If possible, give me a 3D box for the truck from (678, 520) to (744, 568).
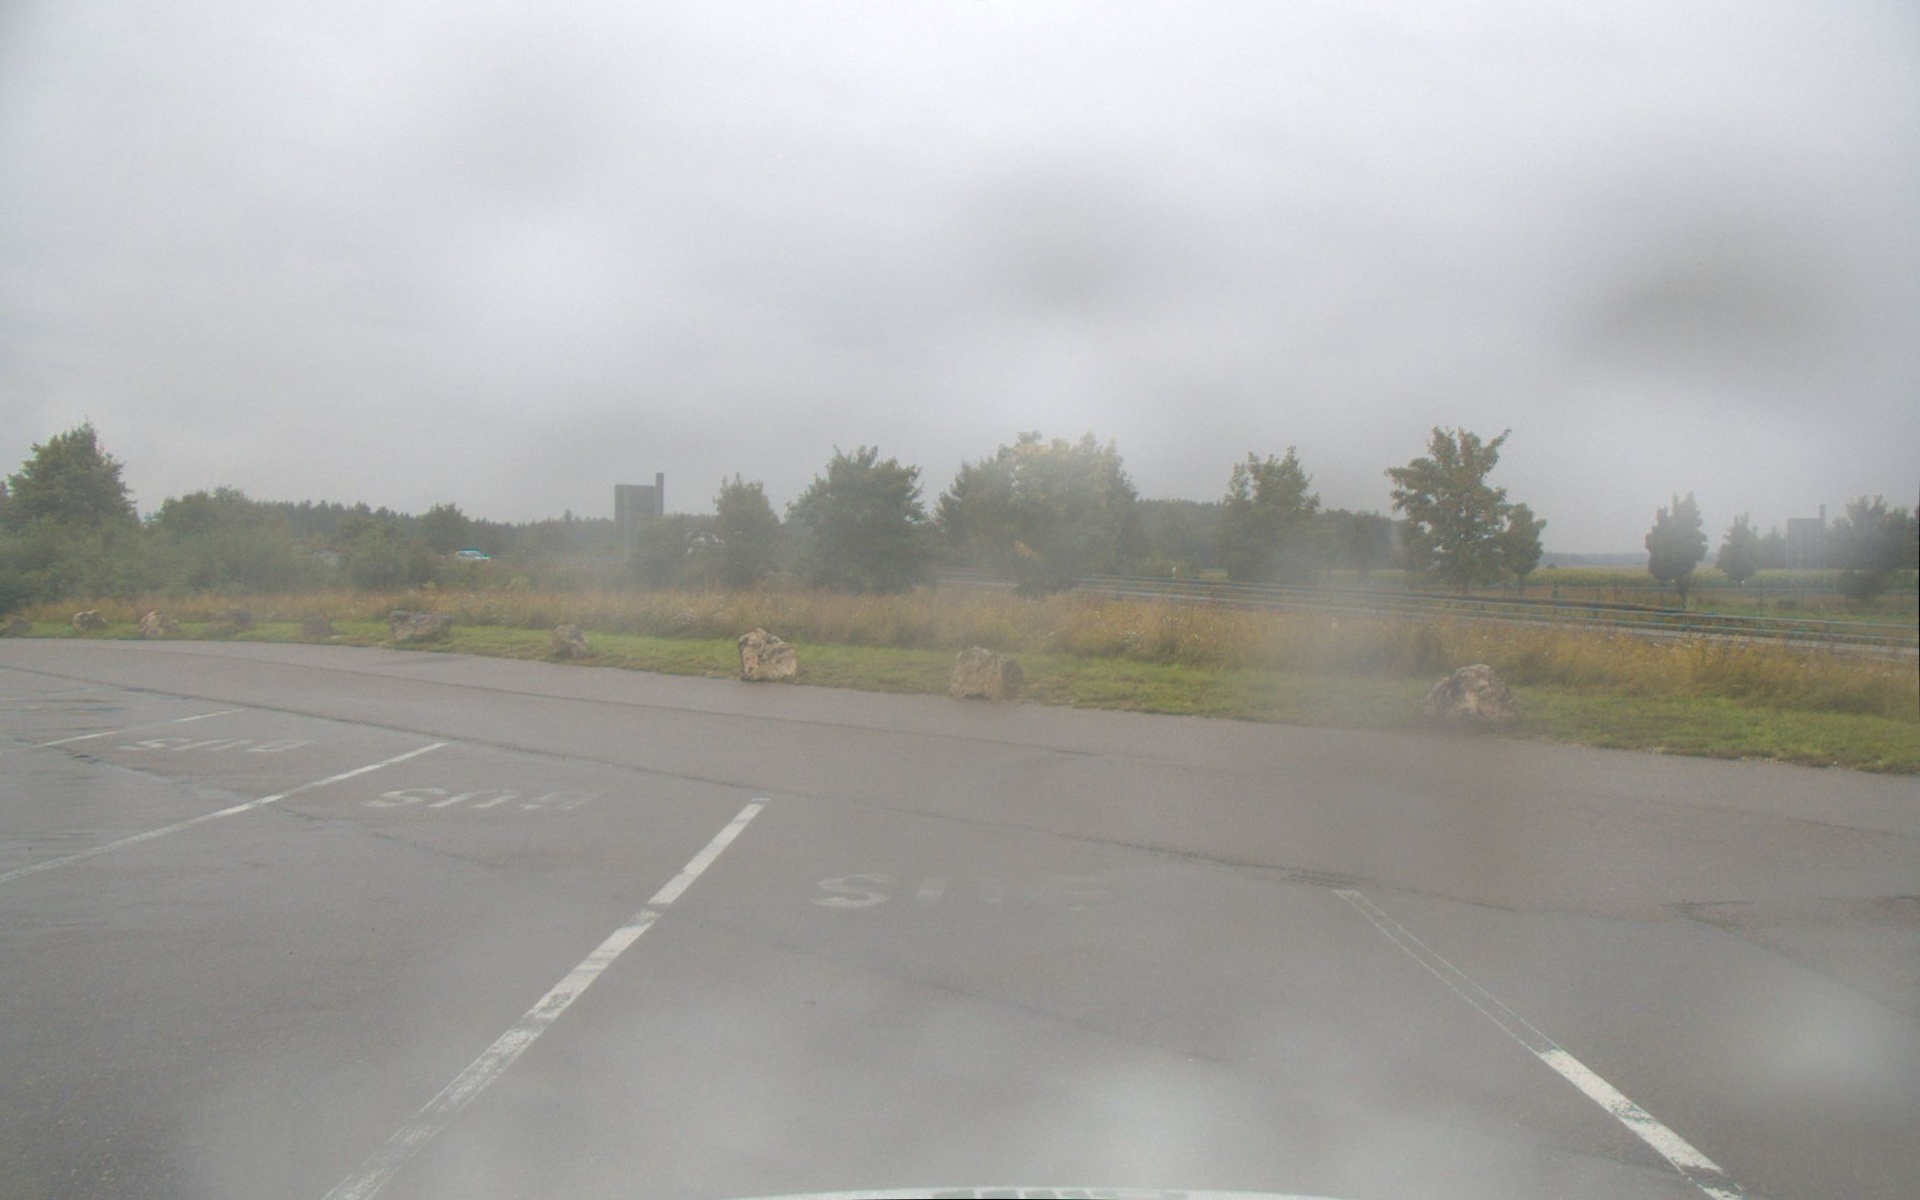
[{"bbox_3d":[-18.911,-4.158,125.237,2.705,3.450,8.001,1,1,-26],"label":"truck"}]
